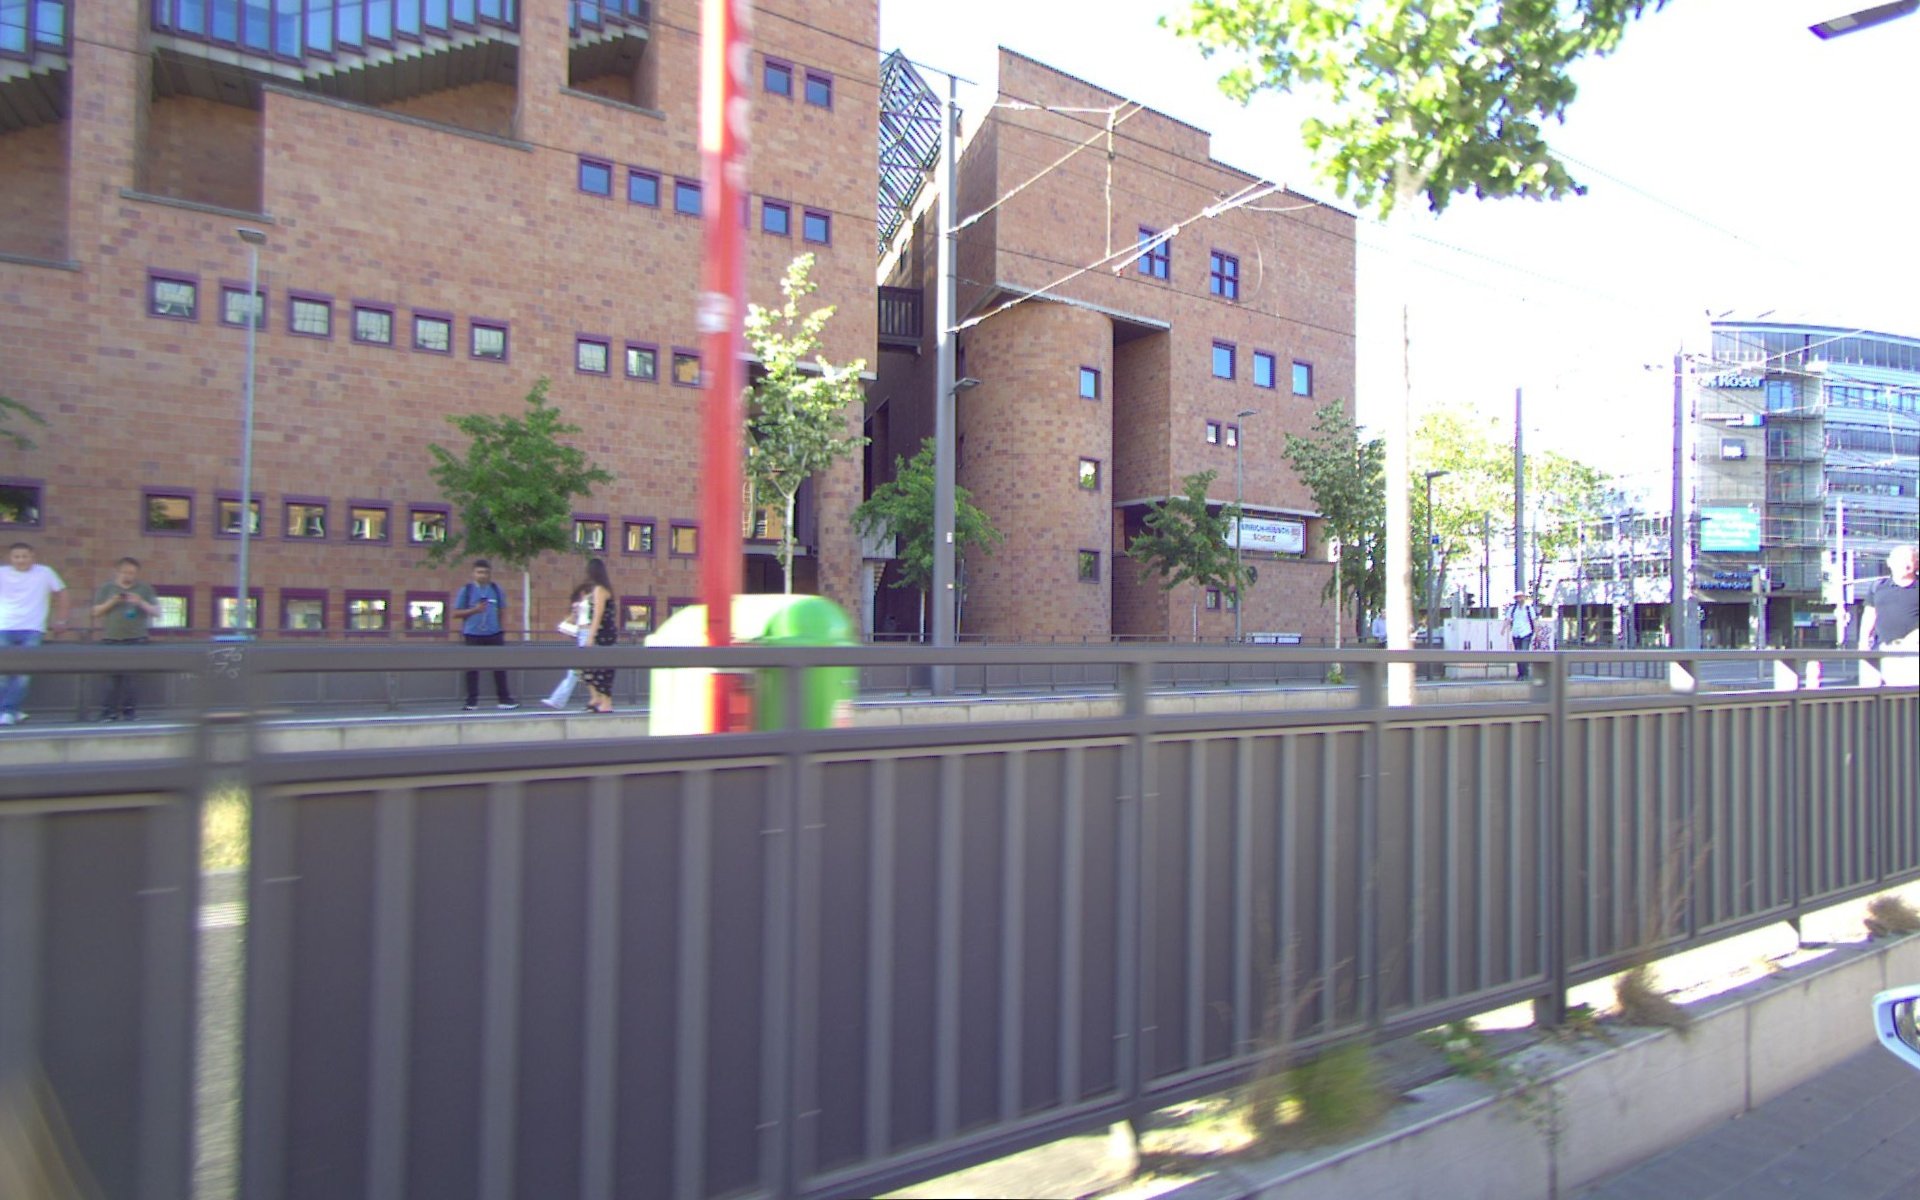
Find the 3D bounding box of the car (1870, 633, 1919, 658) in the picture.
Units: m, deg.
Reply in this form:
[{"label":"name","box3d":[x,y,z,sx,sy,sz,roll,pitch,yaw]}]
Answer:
[{"label":"car","box3d":[58.145,2.804,61.884,3.954,1.483,1.984,1,-1,-31]}]

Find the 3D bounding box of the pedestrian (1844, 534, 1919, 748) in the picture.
[{"label":"pedestrian","box3d":[7.714,0.331,8.246,0.543,1.691,0.517,1,0,-29]}]

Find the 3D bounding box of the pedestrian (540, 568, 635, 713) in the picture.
[{"label":"pedestrian","box3d":[-4.384,0.463,11.808,0.934,1.629,0.637,1,0,-30]}]

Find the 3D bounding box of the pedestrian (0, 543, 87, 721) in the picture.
[{"label":"pedestrian","box3d":[-9.352,0.313,10.179,0.608,1.737,0.620,1,0,-29]}]

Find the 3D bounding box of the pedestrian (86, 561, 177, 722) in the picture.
[{"label":"pedestrian","box3d":[-8.722,0.424,10.595,0.608,1.633,0.620,1,0,-29]}]

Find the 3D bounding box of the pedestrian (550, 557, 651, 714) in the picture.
[{"label":"pedestrian","box3d":[-3.984,0.381,11.123,0.934,1.665,0.637,1,0,-30]}]

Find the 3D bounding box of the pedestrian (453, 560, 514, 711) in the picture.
[{"label":"pedestrian","box3d":[-5.752,0.418,12.117,0.608,1.761,0.579,1,0,-29]}]

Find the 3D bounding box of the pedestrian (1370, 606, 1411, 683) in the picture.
[{"label":"pedestrian","box3d":[9.357,0.957,21.834,0.608,1.630,0.561,1,0,-29]}]

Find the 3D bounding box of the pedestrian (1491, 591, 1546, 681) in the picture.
[{"label":"pedestrian","box3d":[11.688,0.752,21.017,0.886,1.841,0.611,1,0,-30]}]
